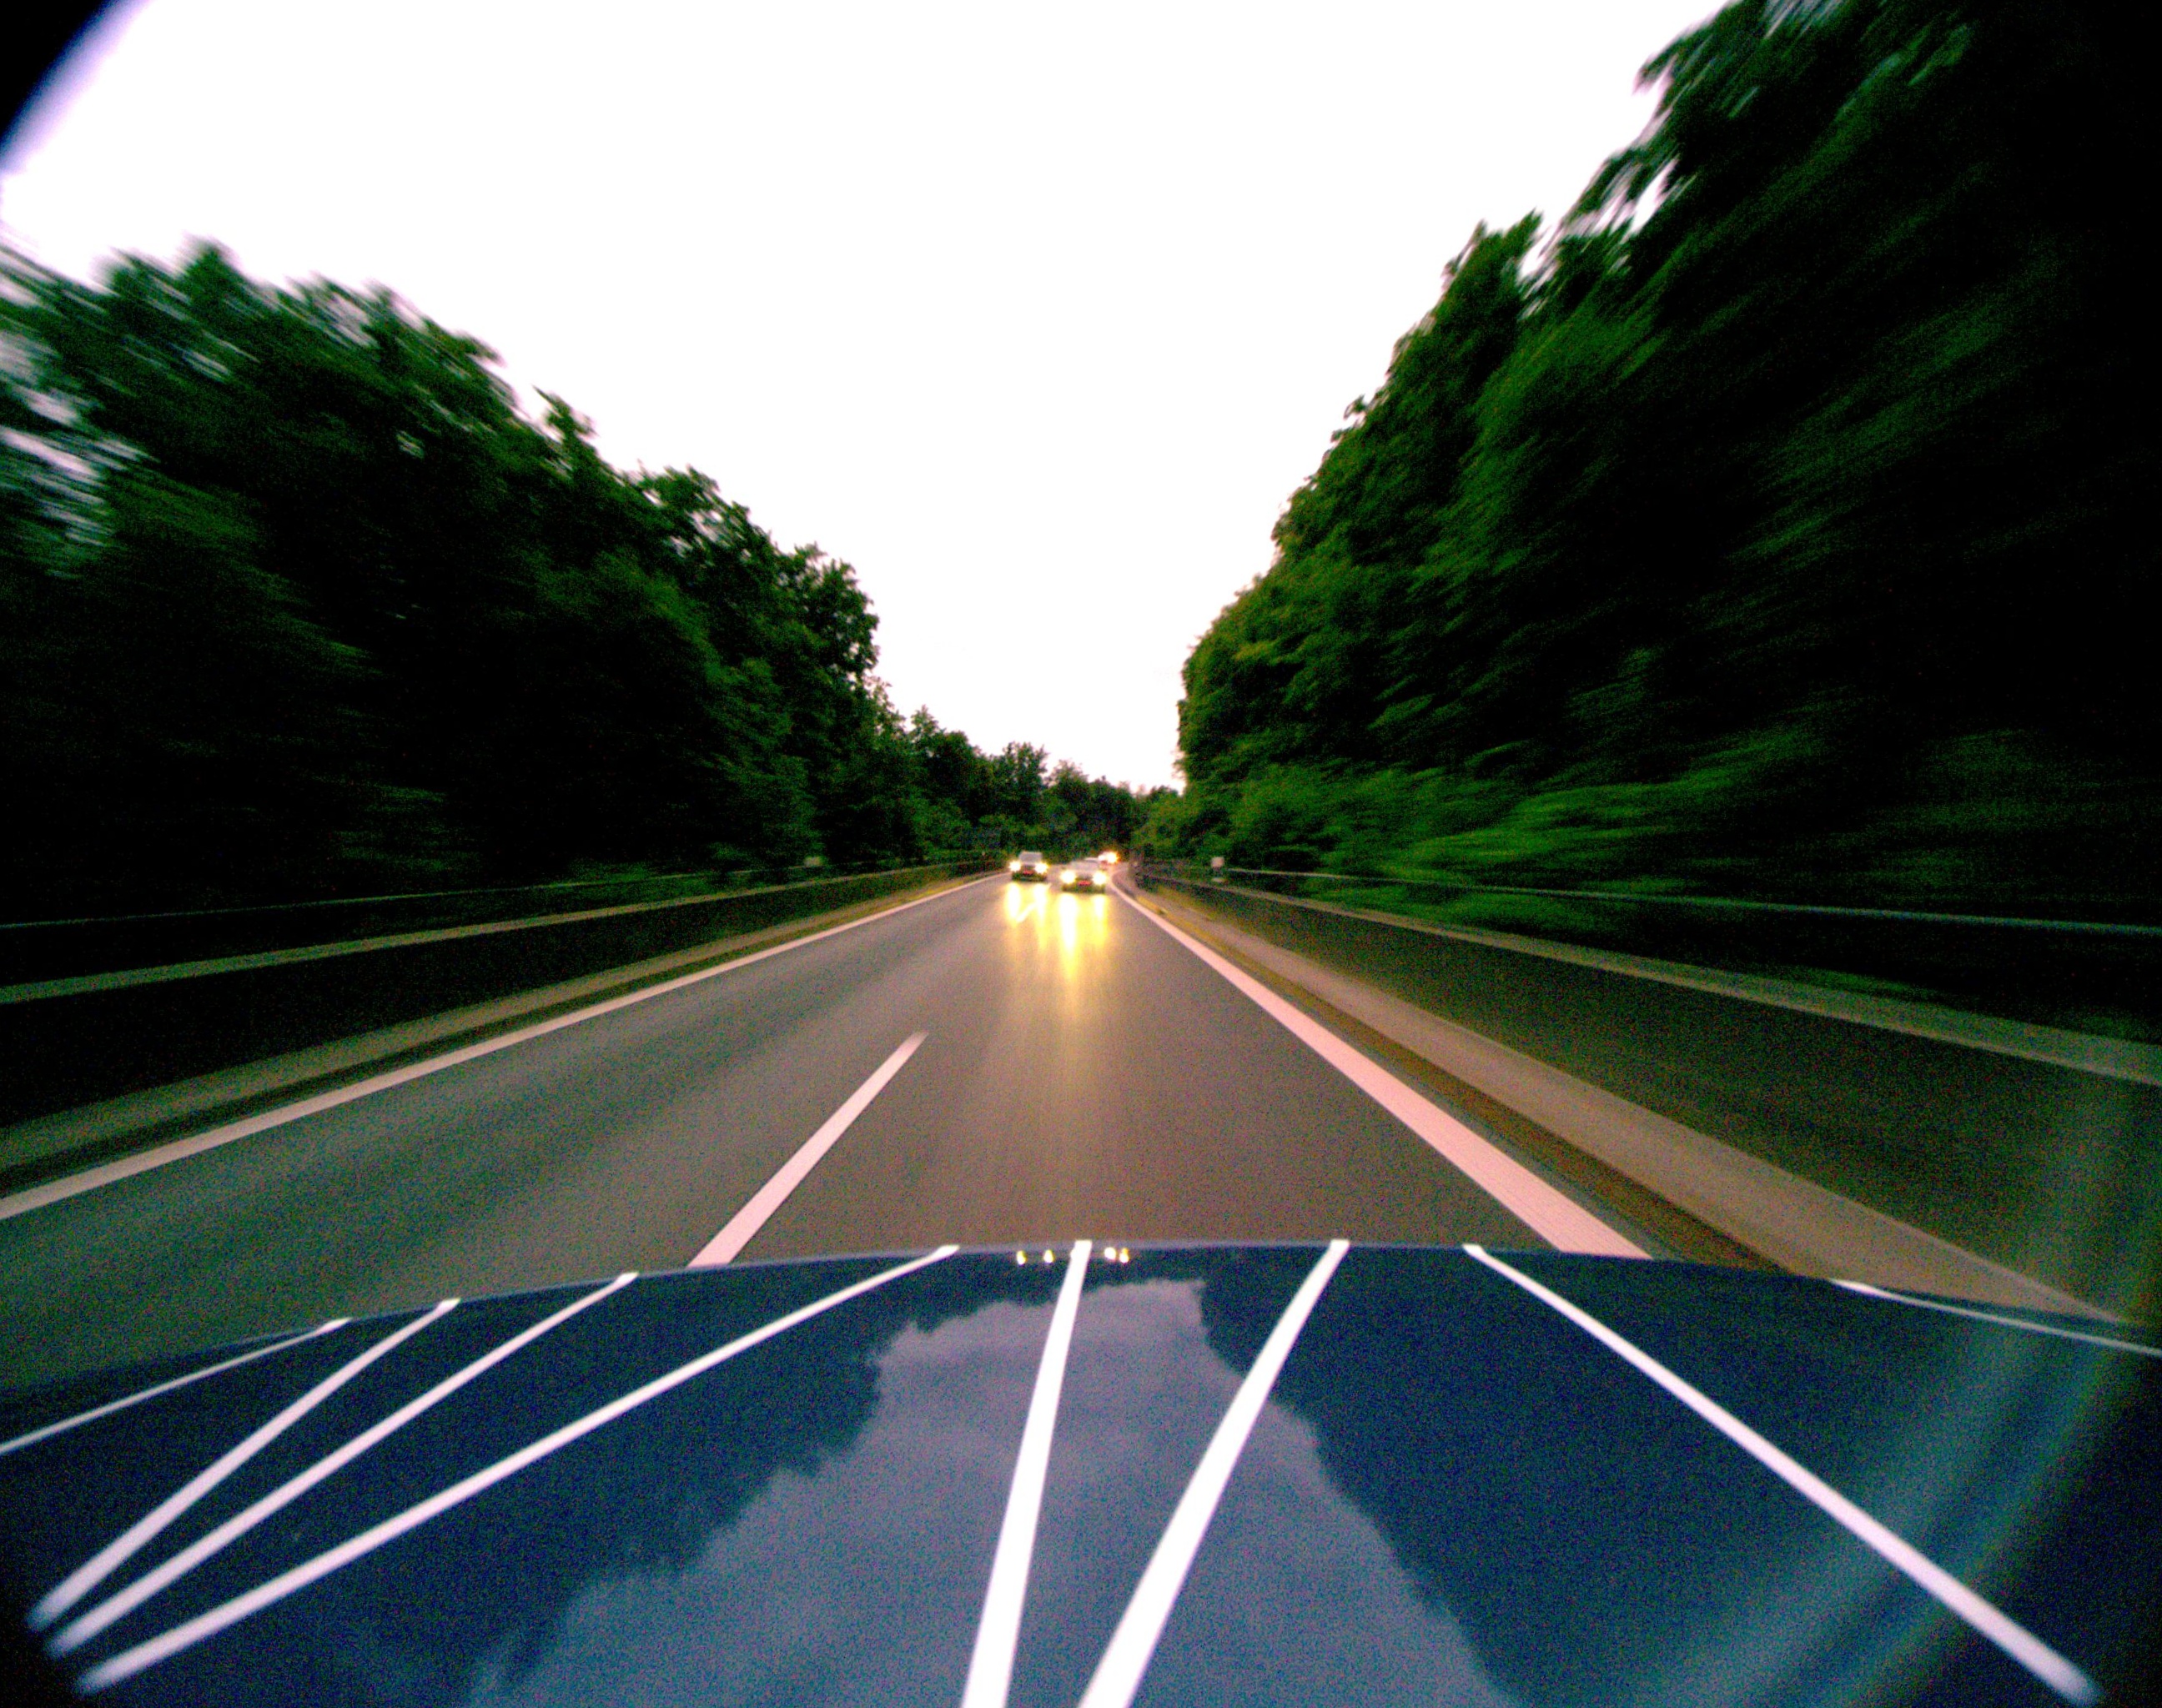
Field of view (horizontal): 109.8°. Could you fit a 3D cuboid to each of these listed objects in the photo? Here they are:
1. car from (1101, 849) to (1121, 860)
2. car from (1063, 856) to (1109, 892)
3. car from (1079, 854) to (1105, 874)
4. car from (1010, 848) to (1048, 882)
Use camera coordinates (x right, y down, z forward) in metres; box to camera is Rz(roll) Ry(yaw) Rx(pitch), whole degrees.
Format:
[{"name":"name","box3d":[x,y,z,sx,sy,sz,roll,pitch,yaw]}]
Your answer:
[{"name":"car","box3d":[4.712,0.125,118.010,1.995,1.608,4.006,3,0,19]},{"name":"car","box3d":[0.282,0.893,35.164,1.998,1.499,4.000,1,0,2]},{"name":"car","box3d":[0.926,0.798,62.449,1.998,1.499,4.000,2,1,2]},{"name":"car","box3d":[-3.012,0.591,44.180,1.999,1.631,3.997,4,2,-3]}]
